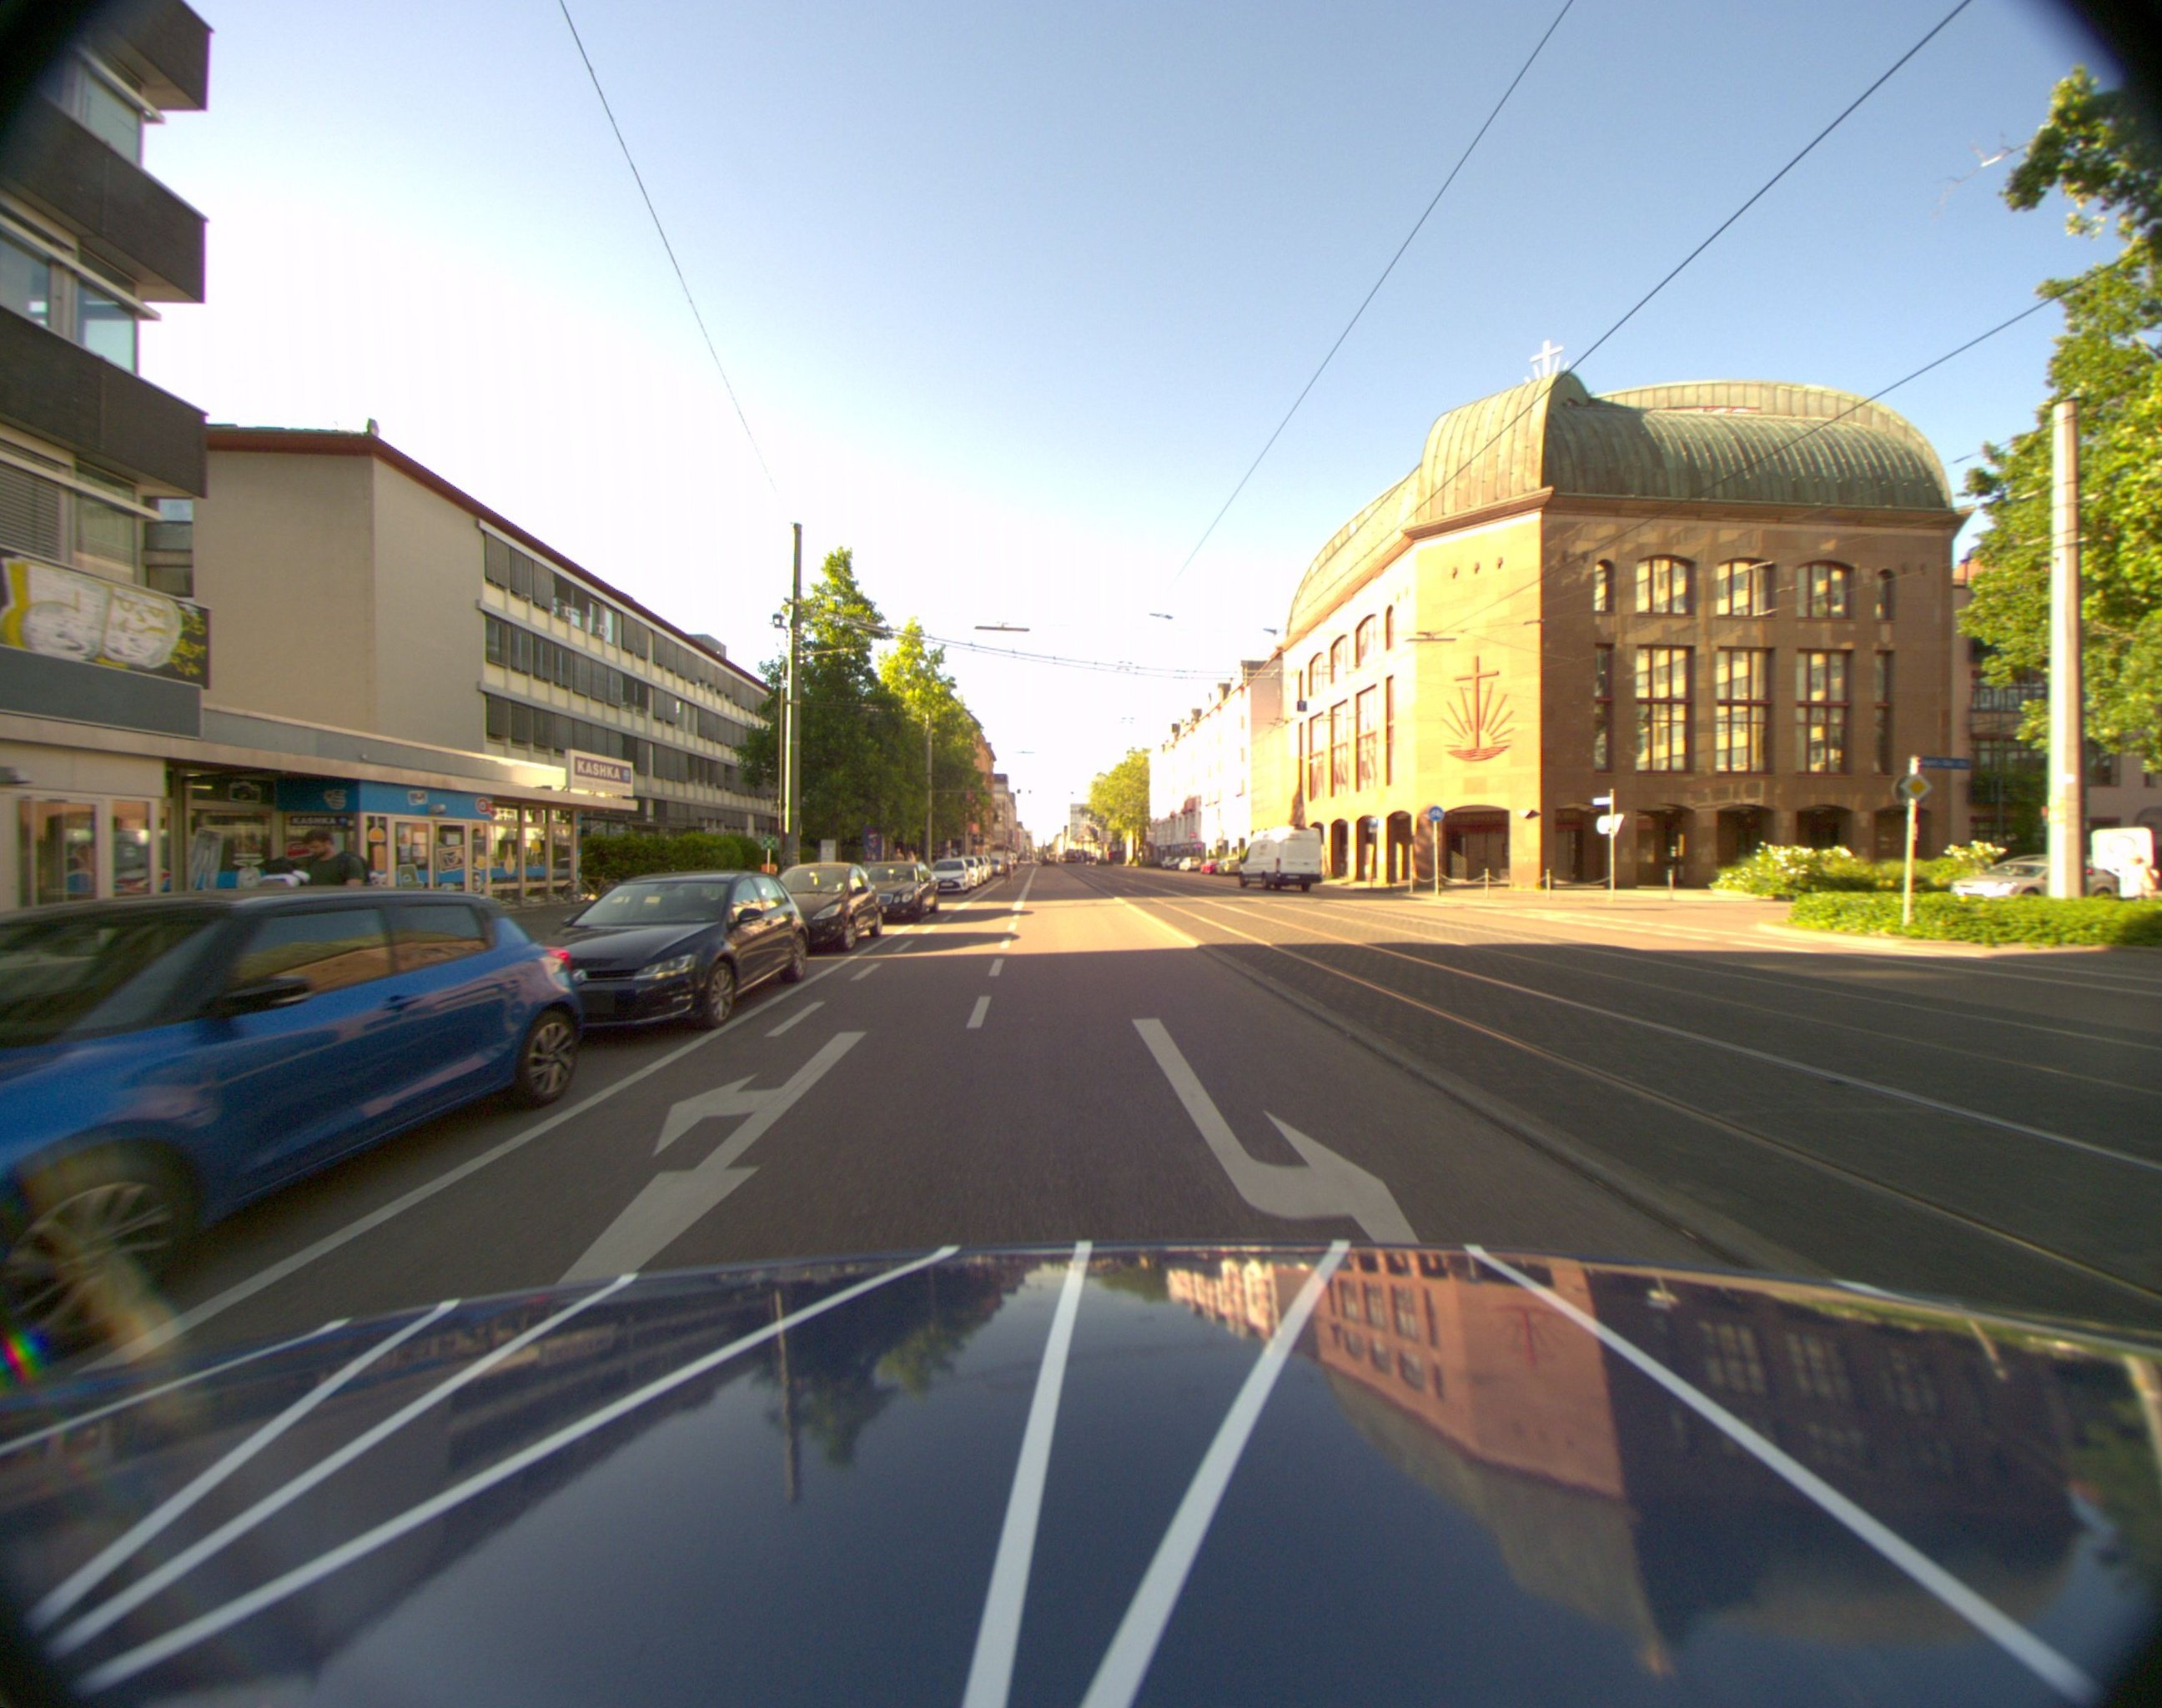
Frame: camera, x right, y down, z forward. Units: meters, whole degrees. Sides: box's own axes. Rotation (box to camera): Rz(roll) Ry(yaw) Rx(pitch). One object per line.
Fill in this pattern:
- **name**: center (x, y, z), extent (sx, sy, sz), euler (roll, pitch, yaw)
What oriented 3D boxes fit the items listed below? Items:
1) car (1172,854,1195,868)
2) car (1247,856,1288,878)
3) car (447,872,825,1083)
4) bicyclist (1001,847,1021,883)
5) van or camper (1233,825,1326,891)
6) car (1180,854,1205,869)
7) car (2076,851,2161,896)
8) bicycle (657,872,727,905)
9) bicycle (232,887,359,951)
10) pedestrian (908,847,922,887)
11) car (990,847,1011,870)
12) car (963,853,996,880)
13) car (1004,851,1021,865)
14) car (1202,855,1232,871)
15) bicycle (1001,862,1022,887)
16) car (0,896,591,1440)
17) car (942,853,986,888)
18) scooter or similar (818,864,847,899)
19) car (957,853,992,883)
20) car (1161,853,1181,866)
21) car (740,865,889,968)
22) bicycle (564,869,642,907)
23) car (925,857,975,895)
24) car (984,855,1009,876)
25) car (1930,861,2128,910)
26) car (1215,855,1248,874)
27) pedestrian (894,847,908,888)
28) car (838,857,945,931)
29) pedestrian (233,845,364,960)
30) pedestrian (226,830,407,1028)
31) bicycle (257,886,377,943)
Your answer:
- **car**: center (11.300, 0.717, 83.661), extent (1.856, 1.445, 3.852), euler (-1, 0, -3)
- **car**: center (12.942, 0.883, 52.916), extent (1.754, 1.445, 3.470), euler (-1, 0, -4)
- **car**: center (-4.263, 1.034, 8.202), extent (1.703, 1.474, 4.224), euler (-2, 1, -3)
- **bicyclist**: center (-3.512, 0.559, 38.321), extent (0.895, 1.755, 1.029), euler (-2, 2, -3)
- **van or camper**: center (8.912, 0.153, 34.920), extent (2.042, 2.723, 7.018), euler (1, 0, -3)
- **car**: center (11.508, 0.760, 78.832), extent (1.856, 1.445, 3.852), euler (-1, 0, -3)
- **car**: center (38.412, 0.665, 26.987), extent (4.276, 1.521, 1.998), euler (0, 0, -11)
- **bicycle**: center (-11.496, 1.012, 22.471), extent (1.814, 0.917, 0.406), euler (2, 2, -6)
- **bicycle**: center (-12.481, 1.034, 12.088), extent (1.575, 0.916, 0.339), euler (3, 2, -4)
- **pedestrian**: center (-8.413, 0.667, 38.540), extent (0.508, 2.002, 0.574), euler (-2, 2, -3)
- **car**: center (-7.894, 0.444, 74.720), extent (1.733, 2.038, 4.113), euler (-2, 2, -3)
- **car**: center (-6.473, 0.774, 48.935), extent (1.733, 1.542, 4.113), euler (-2, 2, -3)
- **car**: center (-8.151, 0.496, 90.719), extent (1.733, 1.475, 4.113), euler (-2, 2, -3)
- **car**: center (12.043, 0.757, 67.474), extent (1.856, 1.346, 3.852), euler (-1, 0, -3)
- **bicycle**: center (-3.487, 1.009, 38.282), extent (0.889, 1.155, 2.077), euler (-2, 1, -2)
- **car**: center (-4.183, 1.056, 3.324), extent (1.718, 1.446, 3.776), euler (-2, 1, -3)
- **car**: center (-5.847, 0.801, 38.452), extent (1.733, 1.568, 4.114), euler (-2, 1, -3)
- **scooter or similar**: center (-9.127, 0.996, 27.944), extent (0.582, 1.202, 1.313), euler (3, 1, -1)
- **car**: center (-6.129, 0.763, 44.088), extent (1.734, 1.586, 4.113), euler (-2, 1, -5)
- **car**: center (10.767, 0.675, 91.113), extent (1.856, 1.445, 3.852), euler (-1, 0, -3)
- **car**: center (-4.667, 1.012, 13.822), extent (1.575, 1.474, 3.556), euler (-2, 1, -3)
- **bicycle**: center (-13.601, 0.965, 21.650), extent (1.807, 0.960, 0.572), euler (2, 2, -3)
- **car**: center (-5.692, 0.914, 33.396), extent (1.734, 1.474, 3.862), euler (-2, 0, -4)
- **car**: center (-6.755, 0.910, 61.034), extent (1.733, 1.475, 4.113), euler (-2, 2, -3)
- **car**: center (31.513, 1.012, 25.340), extent (4.273, 1.521, 1.999), euler (0, 0, -3)
- **car**: center (12.355, 0.819, 62.556), extent (1.856, 1.445, 3.852), euler (-1, 0, -3)
- **pedestrian**: center (-9.148, 0.679, 38.594), extent (0.508, 2.002, 0.574), euler (-2, 2, -3)
- **car**: center (-4.772, 0.930, 19.864), extent (1.733, 1.475, 4.926), euler (-2, 2, -3)
- **pedestrian**: center (-12.042, 0.723, 11.727), extent (1.013, 1.639, 0.916), euler (4, 2, -2)
- **pedestrian**: center (-7.867, 0.716, 7.884), extent (0.686, 1.901, 1.063), euler (-2, 2, 0)
- **bicycle**: center (-12.762, 1.007, 12.712), extent (1.575, 0.916, 0.339), euler (1, 2, -4)
